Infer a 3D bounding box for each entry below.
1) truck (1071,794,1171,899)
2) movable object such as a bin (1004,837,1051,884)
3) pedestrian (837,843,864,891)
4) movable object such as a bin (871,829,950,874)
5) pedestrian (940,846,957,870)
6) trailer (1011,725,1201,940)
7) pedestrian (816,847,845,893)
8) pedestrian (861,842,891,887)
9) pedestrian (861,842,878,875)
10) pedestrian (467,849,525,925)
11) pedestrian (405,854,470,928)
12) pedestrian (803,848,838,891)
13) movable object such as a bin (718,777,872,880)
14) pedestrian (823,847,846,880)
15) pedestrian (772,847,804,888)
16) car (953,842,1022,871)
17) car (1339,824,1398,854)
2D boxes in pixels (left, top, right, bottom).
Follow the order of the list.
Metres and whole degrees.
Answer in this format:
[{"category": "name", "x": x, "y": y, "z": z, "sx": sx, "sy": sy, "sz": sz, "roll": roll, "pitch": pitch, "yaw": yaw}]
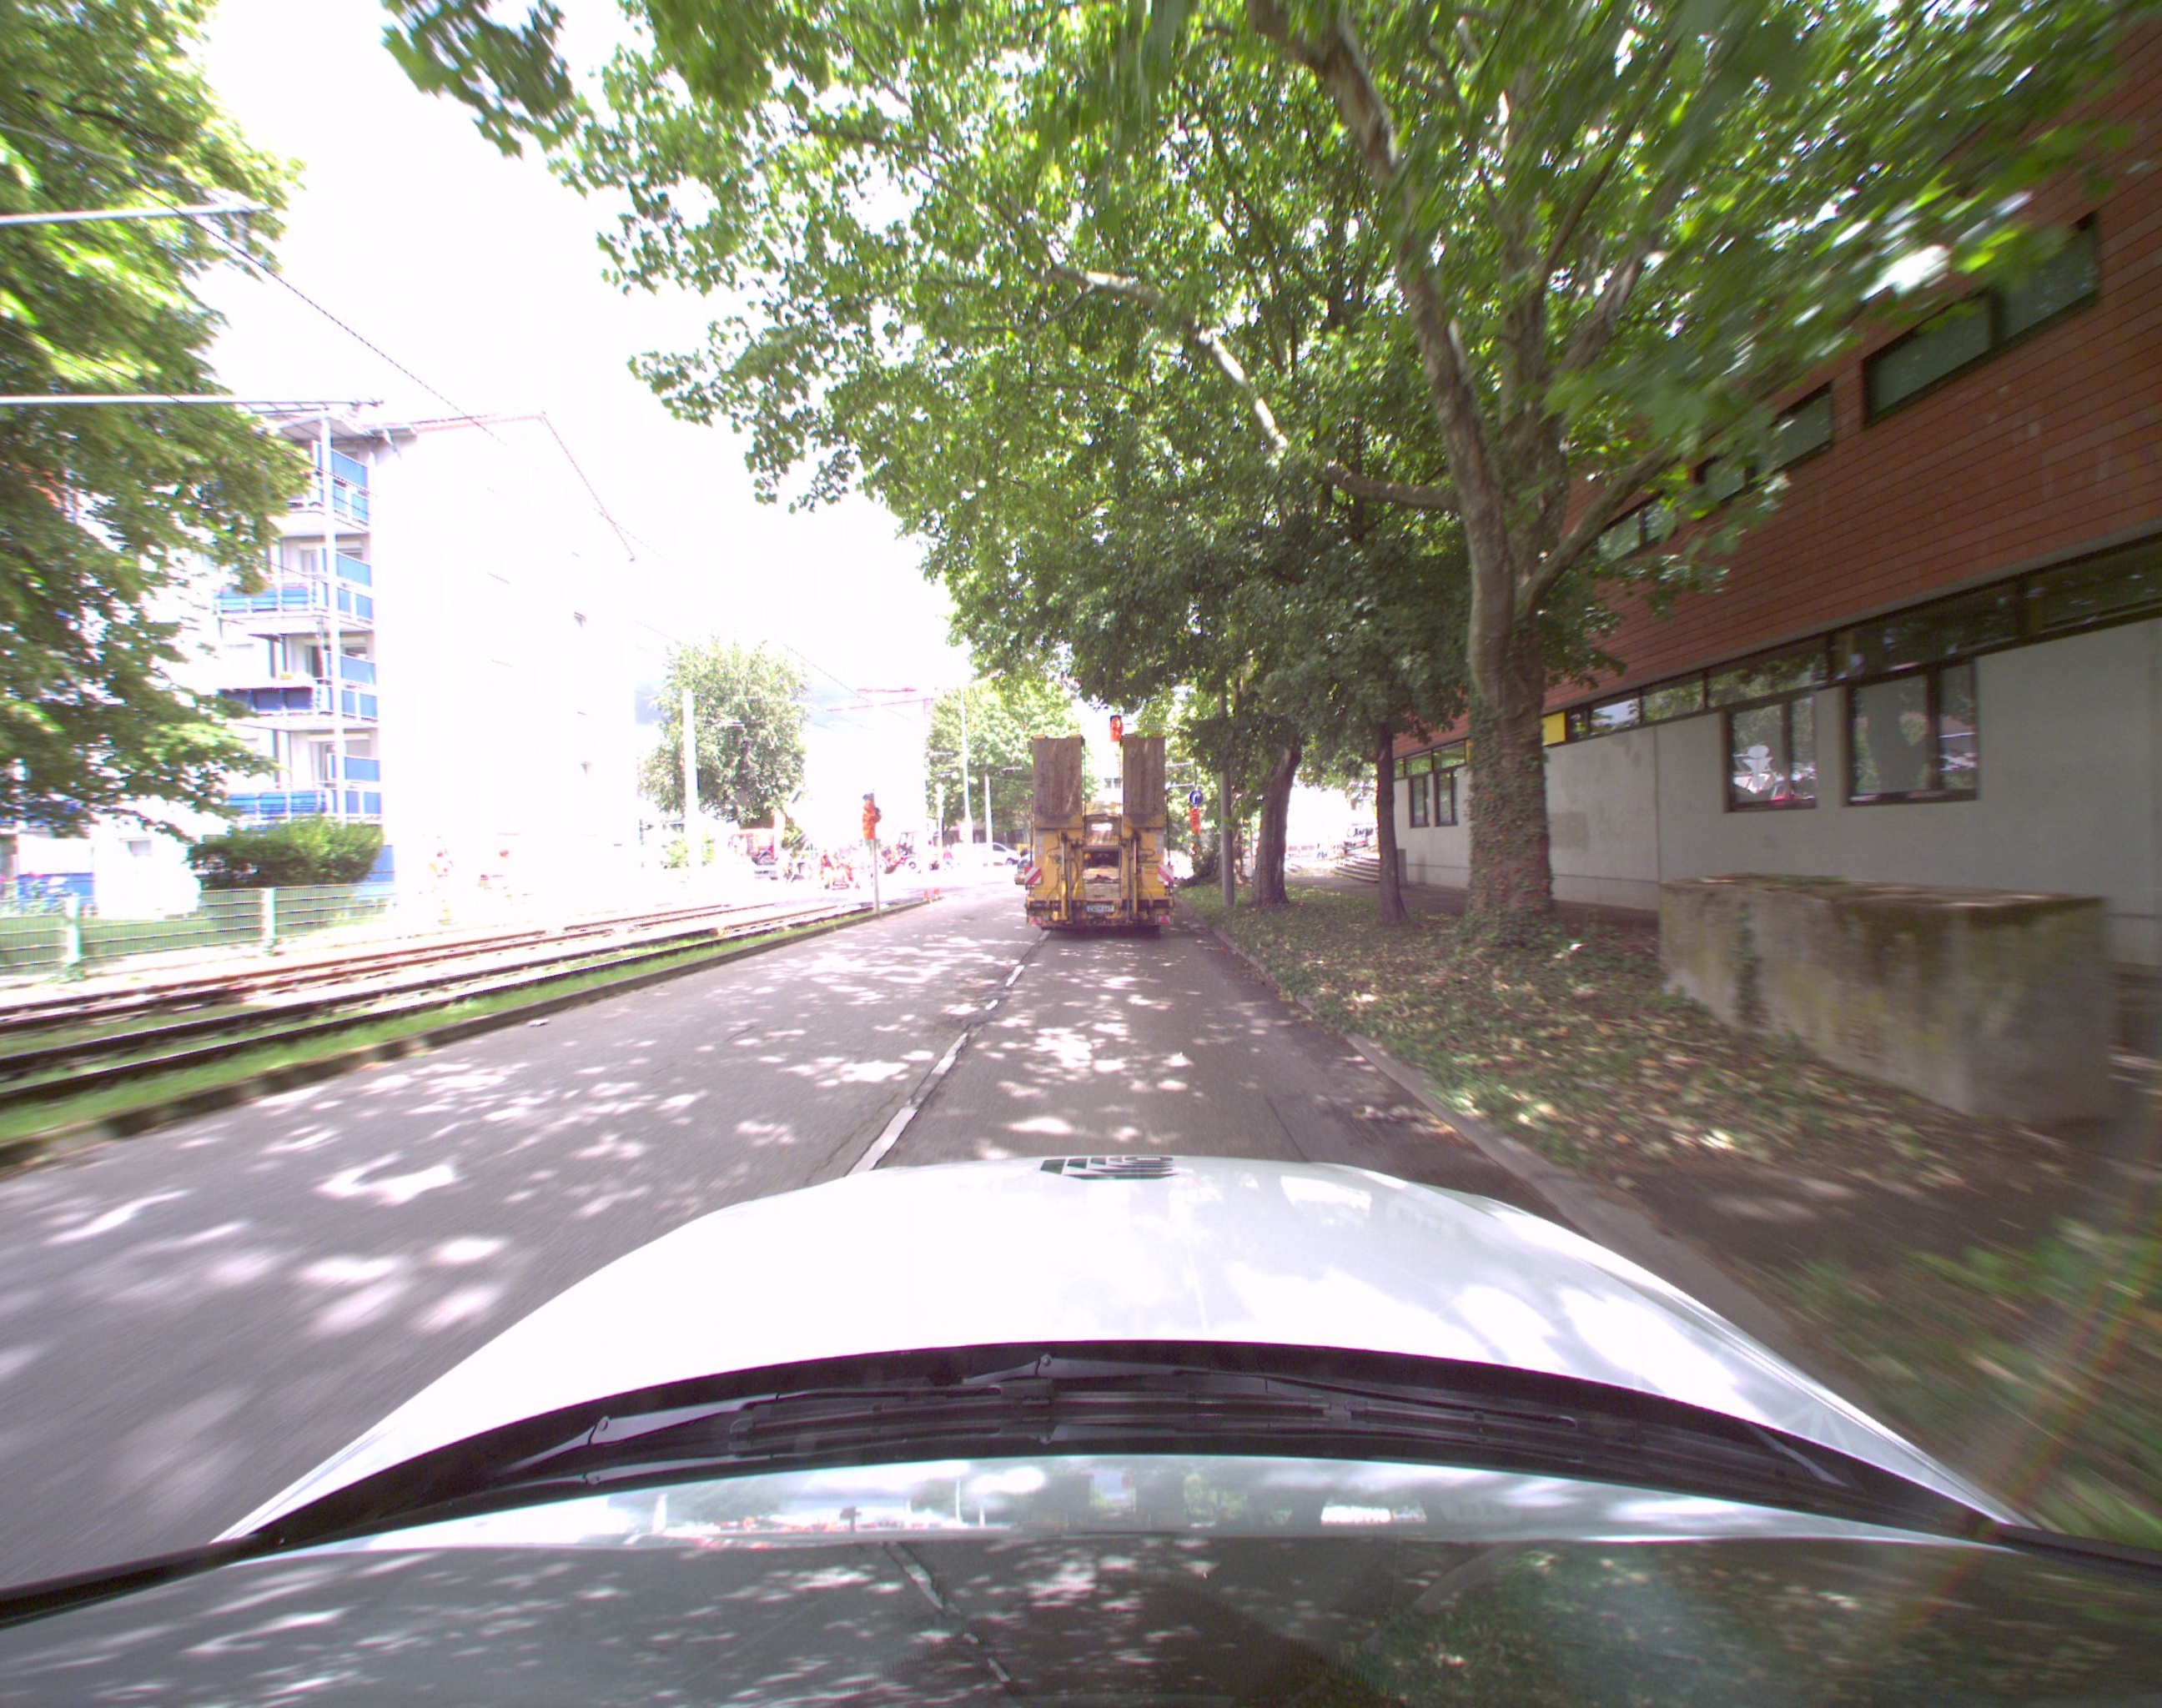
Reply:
[{"category": "truck", "x": 1.499, "y": -0.231, "z": 28.727, "sx": 2.976, "sy": 3.135, "sz": 7.897, "roll": -1, "pitch": 0, "yaw": 4}, {"category": "movable object such as a bin", "x": -2.341, "y": 0.278, "z": 36.360, "sx": 1.389, "sy": 2.013, "sz": 2.565, "roll": -1, "pitch": 0, "yaw": 13}, {"category": "pedestrian", "x": -9.274, "y": 0.520, "z": 32.755, "sx": 0.890, "sy": 1.867, "sz": 0.830, "roll": -1, "pitch": 0, "yaw": -27}, {"category": "movable object such as a bin", "x": -10.518, "y": -0.149, "z": 50.279, "sx": 4.325, "sy": 2.629, "sz": 2.234, "roll": -1, "pitch": 0, "yaw": 28}, {"category": "pedestrian", "x": -7.956, "y": 0.211, "z": 48.892, "sx": 0.913, "sy": 1.409, "sz": 0.753, "roll": -1, "pitch": 0, "yaw": -1}, {"category": "trailer", "x": 0.802, "y": -0.369, "z": 19.226, "sx": 3.140, "sy": 3.552, "sz": 11.109, "roll": -1, "pitch": 0, "yaw": 4}, {"category": "pedestrian", "x": -9.722, "y": 0.603, "z": 31.644, "sx": 0.883, "sy": 1.760, "sz": 0.836, "roll": -1, "pitch": 0, "yaw": -2}, {"category": "pedestrian", "x": -8.819, "y": 0.443, "z": 35.018, "sx": 0.877, "sy": 1.867, "sz": 0.842, "roll": -1, "pitch": 0, "yaw": 31}, {"category": "pedestrian", "x": -12.156, "y": 0.255, "z": 46.902, "sx": 0.834, "sy": 1.867, "sz": 0.885, "roll": -1, "pitch": 0, "yaw": -10}, {"category": "pedestrian", "x": -13.563, "y": 0.750, "z": 18.904, "sx": 0.697, "sy": 1.718, "sz": 0.867, "roll": -1, "pitch": 0, "yaw": 2}, {"category": "pedestrian", "x": -14.565, "y": 0.818, "z": 18.466, "sx": 0.729, "sy": 1.625, "sz": 0.867, "roll": -1, "pitch": 0, "yaw": 2}, {"category": "pedestrian", "x": -10.728, "y": 0.616, "z": 33.549, "sx": 1.117, "sy": 1.715, "sz": 0.877, "roll": -1, "pitch": 0, "yaw": -42}, {"category": "movable object such as a bin", "x": -16.333, "y": -1.295, "z": 46.286, "sx": 9.115, "sy": 5.414, "sz": 2.680, "roll": -1, "pitch": 0, "yaw": 28}, {"category": "pedestrian", "x": -12.213, "y": 0.463, "z": 40.384, "sx": 0.884, "sy": 1.645, "sz": 0.898, "roll": -1, "pitch": 0, "yaw": -6}, {"category": "pedestrian", "x": -12.199, "y": 0.556, "z": 33.930, "sx": 0.826, "sy": 1.645, "sz": 0.894, "roll": -1, "pitch": 0, "yaw": 34}, {"category": "car", "x": -7.185, "y": 0.157, "z": 62.541, "sx": 5.094, "sy": 2.102, "sz": 1.968, "roll": -1, "pitch": 0, "yaw": -13}, {"category": "car", "x": 23.593, "y": -1.213, "z": 66.887, "sx": 4.261, "sy": 2.365, "sz": 2.140, "roll": -1, "pitch": 0, "yaw": -26}]
